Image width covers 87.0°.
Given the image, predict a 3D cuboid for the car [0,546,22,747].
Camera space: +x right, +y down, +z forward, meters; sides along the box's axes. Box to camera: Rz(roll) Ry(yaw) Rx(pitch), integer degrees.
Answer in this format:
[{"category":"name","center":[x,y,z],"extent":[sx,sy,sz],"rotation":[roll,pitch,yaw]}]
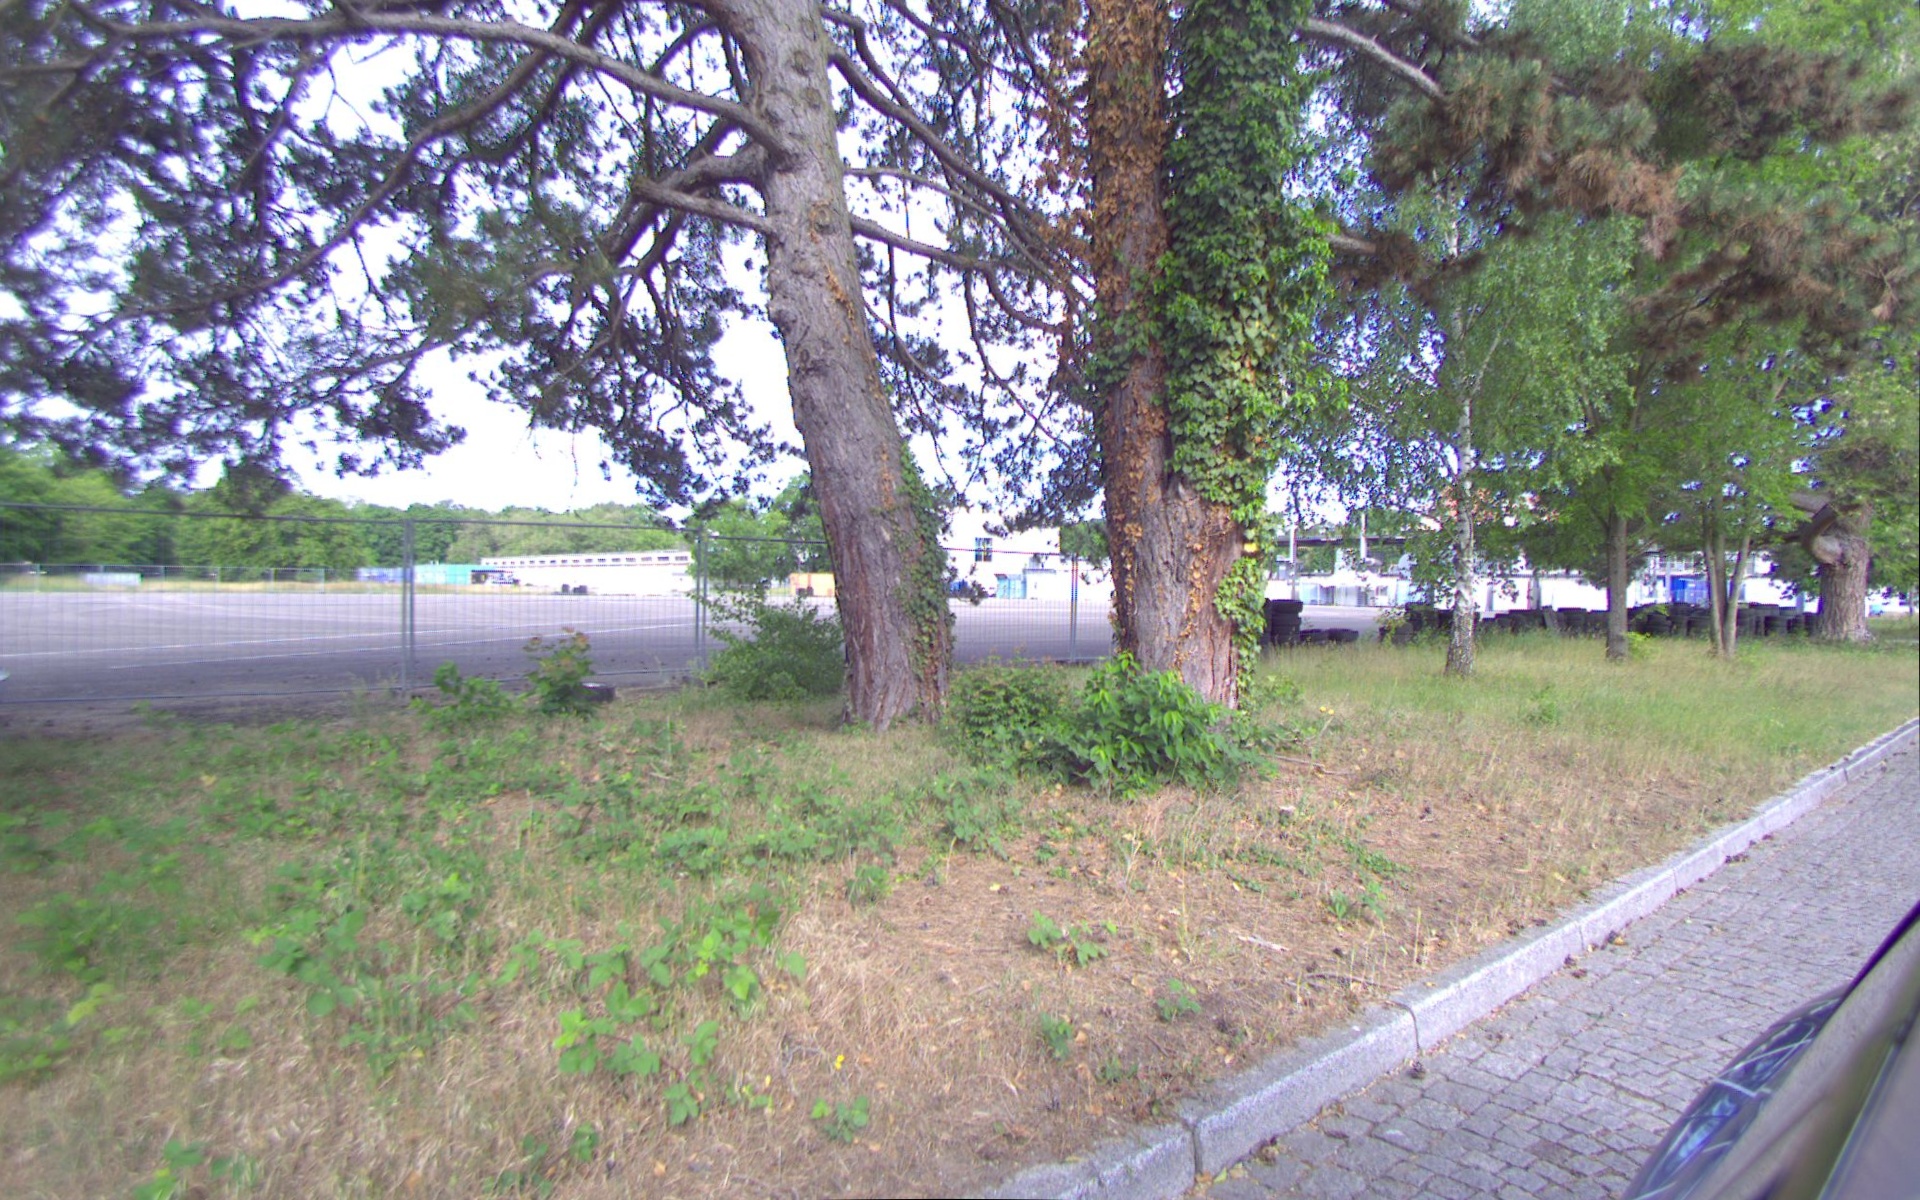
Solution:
[{"category":"car","center":[-8.876,0.355,6.589],"extent":[4.003,1.445,1.648],"rotation":[0,-2,-42]}]
